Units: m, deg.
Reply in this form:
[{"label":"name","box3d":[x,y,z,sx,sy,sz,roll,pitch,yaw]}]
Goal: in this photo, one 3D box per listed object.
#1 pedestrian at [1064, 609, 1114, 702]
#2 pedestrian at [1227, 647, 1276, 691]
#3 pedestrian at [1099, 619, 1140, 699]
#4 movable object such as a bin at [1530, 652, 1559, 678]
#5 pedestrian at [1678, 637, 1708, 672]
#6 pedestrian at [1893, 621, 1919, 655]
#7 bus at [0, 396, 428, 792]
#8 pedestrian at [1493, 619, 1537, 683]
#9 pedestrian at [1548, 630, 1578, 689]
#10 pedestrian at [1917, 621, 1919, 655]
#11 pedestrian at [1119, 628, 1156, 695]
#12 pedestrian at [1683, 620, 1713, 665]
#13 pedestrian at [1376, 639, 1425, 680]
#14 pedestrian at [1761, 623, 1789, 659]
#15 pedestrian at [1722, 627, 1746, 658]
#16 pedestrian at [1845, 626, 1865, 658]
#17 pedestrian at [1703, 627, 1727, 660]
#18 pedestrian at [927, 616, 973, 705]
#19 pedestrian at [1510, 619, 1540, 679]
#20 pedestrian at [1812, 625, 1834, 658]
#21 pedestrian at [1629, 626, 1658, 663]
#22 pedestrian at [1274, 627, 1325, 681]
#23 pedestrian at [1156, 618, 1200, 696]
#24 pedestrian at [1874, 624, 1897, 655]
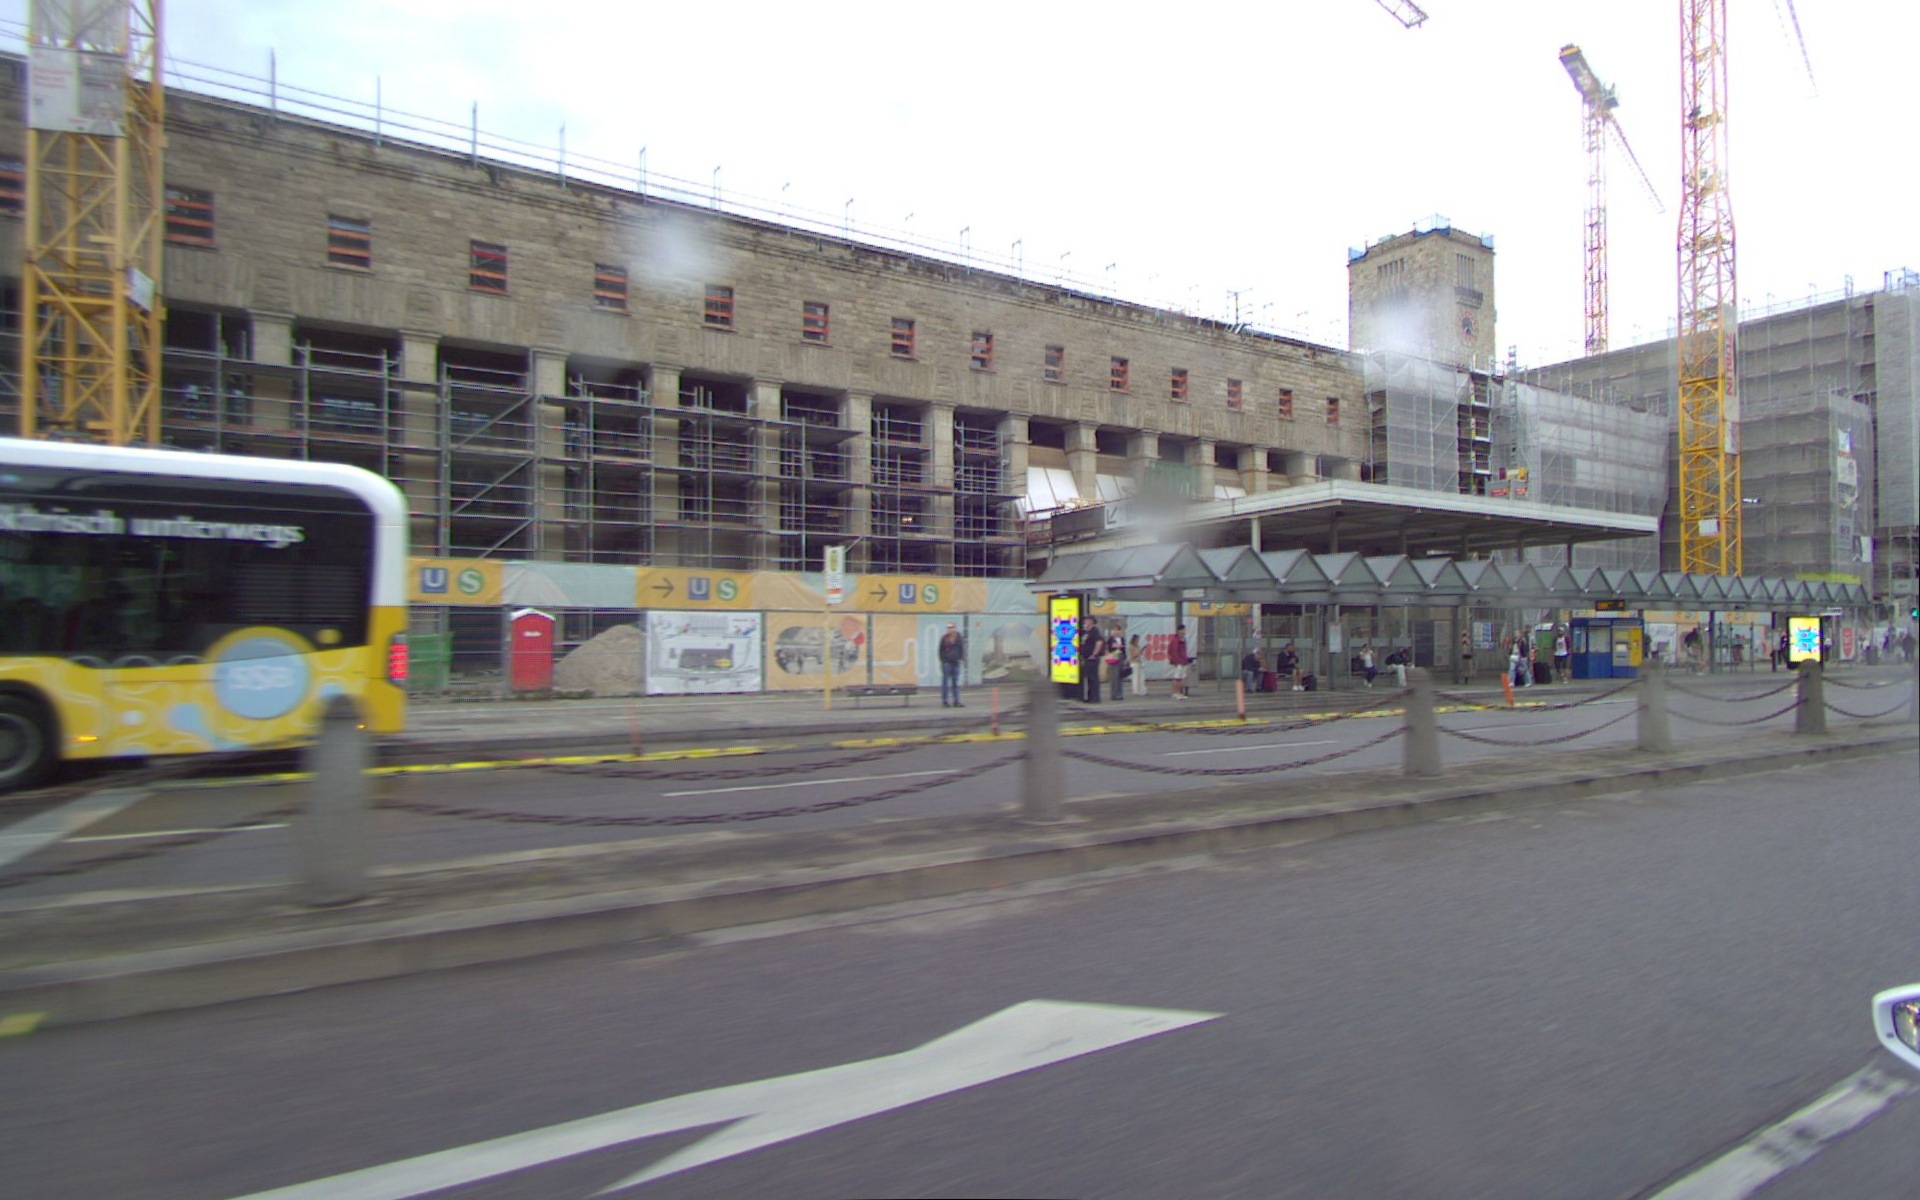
[{"label":"pedestrian","box3d":[2.826,1.203,22.017,0.814,1.984,0.754,1,-1,-34]},{"label":"pedestrian","box3d":[7.692,1.811,26.510,0.916,1.107,0.839,0,-1,-33]},{"label":"pedestrian","box3d":[3.705,1.352,23.272,0.799,1.814,0.551,1,-1,-40]},{"label":"movable object such as a bin","box3d":[18.198,2.028,31.280,0.621,0.800,0.512,-1,-2,14]},{"label":"pedestrian","box3d":[28.832,2.148,39.503,0.796,1.343,0.695,0,-1,-33]},{"label":"pedestrian","box3d":[52.536,2.124,55.734,0.861,1.865,0.704,0,-1,-3]},{"label":"bus","box3d":[-14.690,-0.069,7.584,18.842,3.624,2.898,1,-3,-29]},{"label":"pedestrian","box3d":[16.120,1.464,29.179,0.848,1.814,0.773,0,-1,-24]},{"label":"pedestrian","box3d":[18.720,1.829,31.177,0.769,1.814,0.671,-1,-1,31]},{"label":"pedestrian","box3d":[52.518,2.081,54.666,0.698,1.865,0.503,0,-1,-38]},{"label":"pedestrian","box3d":[4.506,1.550,25.496,0.799,1.652,0.551,1,-1,-40]},{"label":"pedestrian","box3d":[31.451,1.799,42.796,0.689,1.865,0.745,0,-1,-11]},{"label":"pedestrian","box3d":[13.273,1.770,30.265,1.043,1.173,0.945,0,-1,-31]},{"label":"pedestrian","box3d":[44.088,2.201,54.345,1.033,1.865,0.853,0,1,-32]},{"label":"pedestrian","box3d":[39.733,2.191,51.547,0.695,1.568,0.797,0,-1,-37]},{"label":"pedestrian","box3d":[53.295,2.498,59.797,0.604,1.865,0.718,0,-1,-28]},{"label":"pedestrian","box3d":[39.243,2.248,52.202,0.695,1.693,0.797,0,-1,-37]},{"label":"pedestrian","box3d":[-0.210,1.241,20.847,0.782,1.814,0.698,0,-1,-20]},{"label":"pedestrian","box3d":[17.614,1.525,31.335,0.664,1.872,0.558,0,-1,14]},{"label":"pedestrian","box3d":[49.497,2.356,57.598,0.648,1.865,0.739,0,-1,-28]},{"label":"pedestrian","box3d":[32.341,2.097,47.502,0.828,1.722,0.873,0,-1,-33]},{"label":"pedestrian","box3d":[9.344,1.474,27.636,0.822,1.451,1.049,0,-1,-32]},{"label":"pedestrian","box3d":[5.167,1.334,23.843,0.741,1.814,0.718,0,-1,-37]},{"label":"pedestrian","box3d":[57.123,2.439,62.000,0.857,1.865,0.799,0,-1,-28]}]
